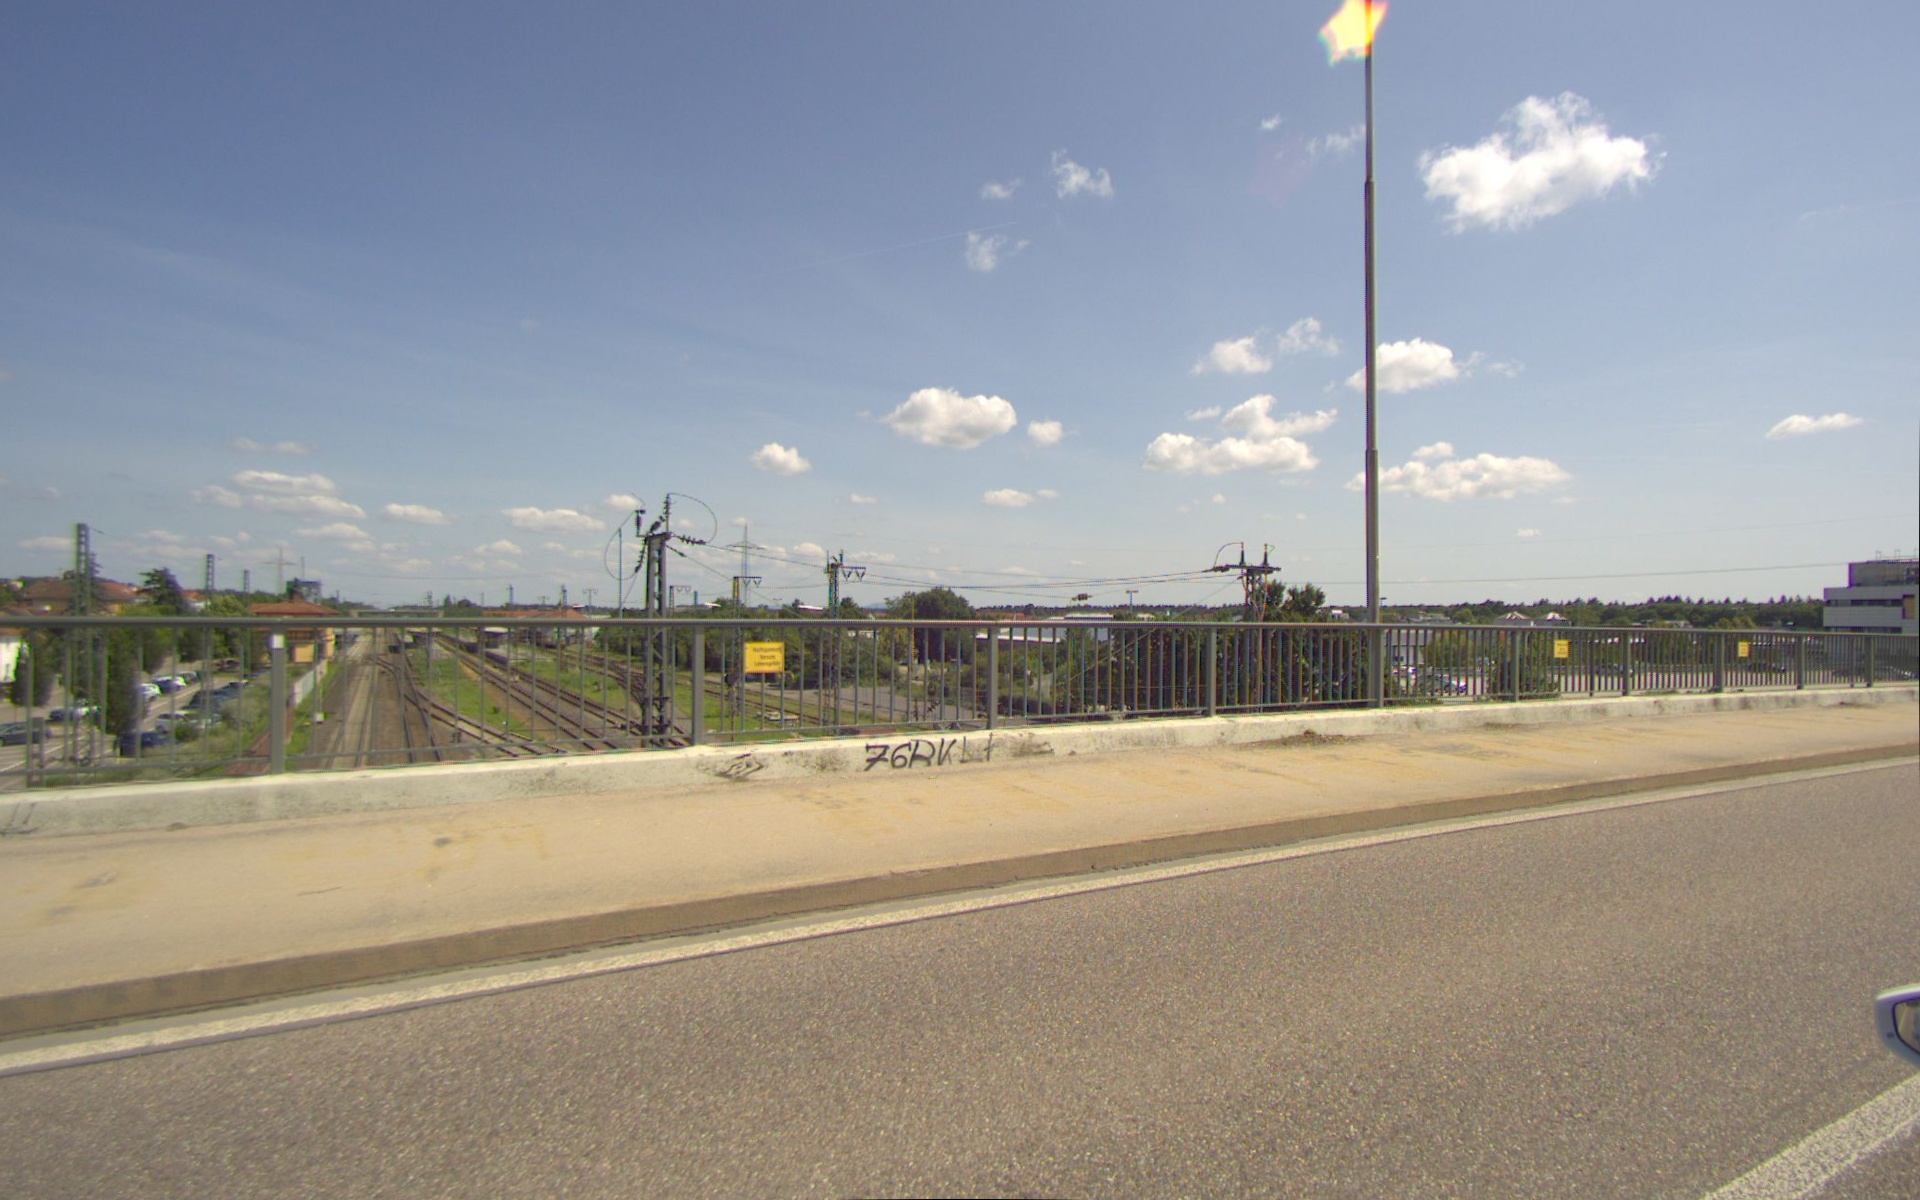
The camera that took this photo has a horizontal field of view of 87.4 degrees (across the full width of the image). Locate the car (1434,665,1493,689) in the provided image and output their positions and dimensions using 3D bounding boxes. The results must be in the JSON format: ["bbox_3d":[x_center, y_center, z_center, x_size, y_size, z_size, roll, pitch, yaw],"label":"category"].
[{"bbox_3d":[41.267,6.277,82.373,1.889,1.770,3.961,3,-3,-35],"label":"car"}]

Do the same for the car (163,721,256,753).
[{"bbox_3d":[-51.362,9.371,68.825,4.533,1.623,2.206,3,4,-8],"label":"car"}]

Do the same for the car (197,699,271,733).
[{"bbox_3d":[-53.512,8.536,74.069,3.929,2.041,1.996,3,4,-10],"label":"car"}]

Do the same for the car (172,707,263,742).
[{"bbox_3d":[-52.881,8.899,71.646,4.768,2.041,1.995,3,4,-11],"label":"car"}]

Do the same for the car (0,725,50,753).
[{"bbox_3d":[-62.425,9.186,66.101,1.837,1.461,3.617,1,0,44],"label":"car"}]

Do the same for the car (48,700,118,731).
[{"bbox_3d":[-71.891,9.464,82.395,1.959,2.040,4.002,0,0,9],"label":"car"}]
